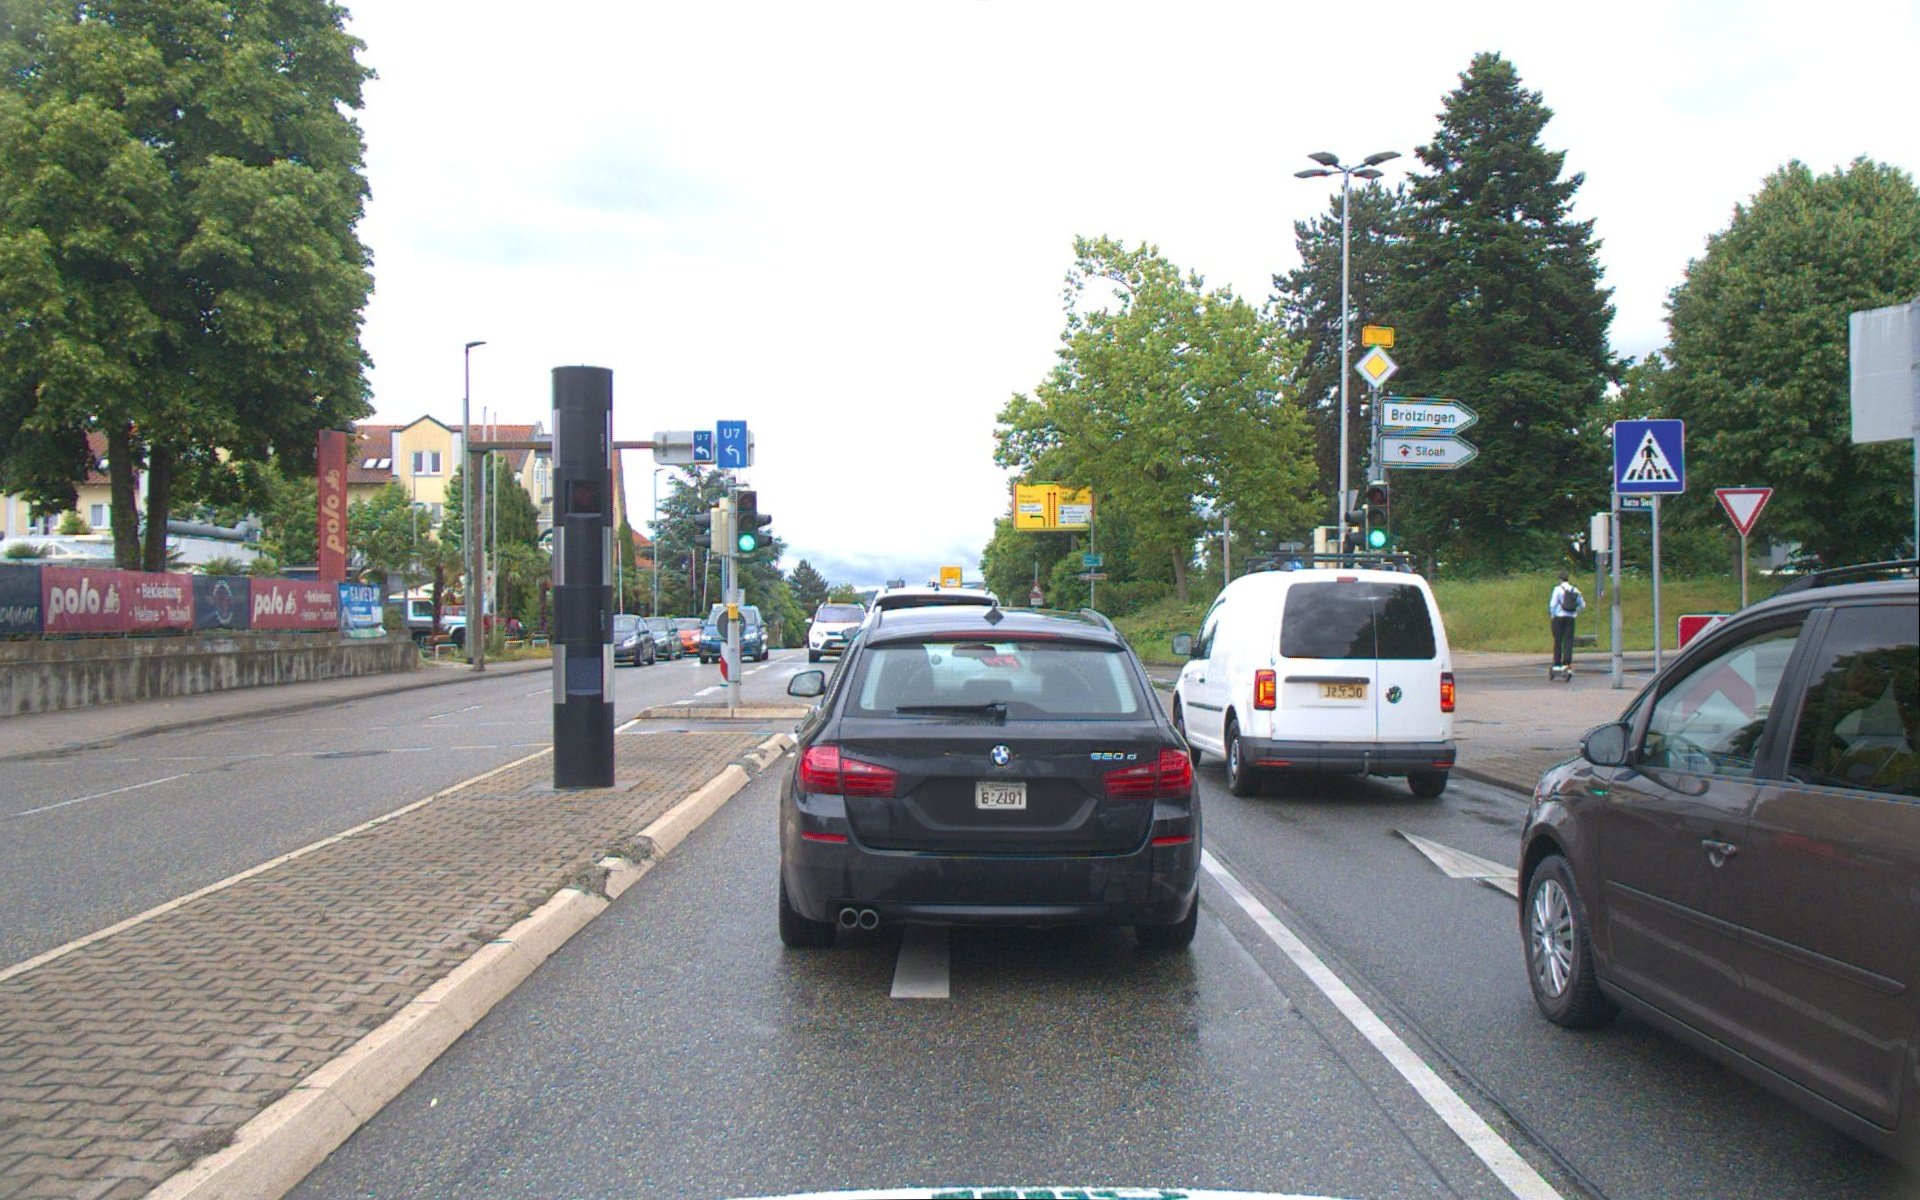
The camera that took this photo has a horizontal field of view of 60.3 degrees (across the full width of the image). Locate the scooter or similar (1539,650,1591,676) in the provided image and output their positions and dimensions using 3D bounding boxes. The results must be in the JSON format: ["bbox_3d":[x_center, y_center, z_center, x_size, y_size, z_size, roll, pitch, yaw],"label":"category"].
[{"bbox_3d":[11.239,1.165,30.754,0.477,0.410,1.255,-1,0,-1],"label":"scooter or similar"}]

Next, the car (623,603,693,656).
[{"bbox_3d":[-10.075,0.961,55.335,1.642,1.646,3.999,-1,0,-1],"label":"car"}]

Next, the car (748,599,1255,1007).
[{"bbox_3d":[0.136,0.753,8.106,1.860,1.467,3.999,1,0,-1],"label":"car"}]

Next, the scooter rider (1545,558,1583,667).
[{"bbox_3d":[11.218,0.226,30.719,0.490,2.000,0.547,-1,0,-1],"label":"scooter rider"}]

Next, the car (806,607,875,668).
[{"bbox_3d":[-3.432,1.053,48.084,1.802,1.678,4.295,0,0,-2],"label":"car"}]

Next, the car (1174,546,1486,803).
[{"bbox_3d":[3.017,0.546,14.270,1.729,1.910,3.804,1,0,-2],"label":"car"}]

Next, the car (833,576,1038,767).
[{"bbox_3d":[-0.241,0.630,16.915,1.830,1.703,3.999,1,0,-1],"label":"car"}]

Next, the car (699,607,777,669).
[{"bbox_3d":[-6.527,1.089,49.061,1.802,1.678,4.295,-2,0,-2],"label":"car"}]

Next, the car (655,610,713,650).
[{"bbox_3d":[-10.191,1.104,61.281,1.590,1.355,3.945,-2,0,-2],"label":"car"}]

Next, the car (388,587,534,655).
[{"bbox_3d":[-16.690,0.694,55.366,4.339,2.049,1.980,-2,0,-30],"label":"car"}]

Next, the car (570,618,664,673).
[{"bbox_3d":[-9.731,1.259,47.215,1.878,1.403,4.124,-2,0,-1],"label":"car"}]

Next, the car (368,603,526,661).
[{"bbox_3d":[-17.923,1.112,57.843,4.943,1.732,1.980,-2,-3,-29],"label":"car"}]

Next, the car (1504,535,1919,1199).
[{"bbox_3d":[3.024,0.684,4.538,1.711,1.637,3.979,1,0,-1],"label":"car"}]
